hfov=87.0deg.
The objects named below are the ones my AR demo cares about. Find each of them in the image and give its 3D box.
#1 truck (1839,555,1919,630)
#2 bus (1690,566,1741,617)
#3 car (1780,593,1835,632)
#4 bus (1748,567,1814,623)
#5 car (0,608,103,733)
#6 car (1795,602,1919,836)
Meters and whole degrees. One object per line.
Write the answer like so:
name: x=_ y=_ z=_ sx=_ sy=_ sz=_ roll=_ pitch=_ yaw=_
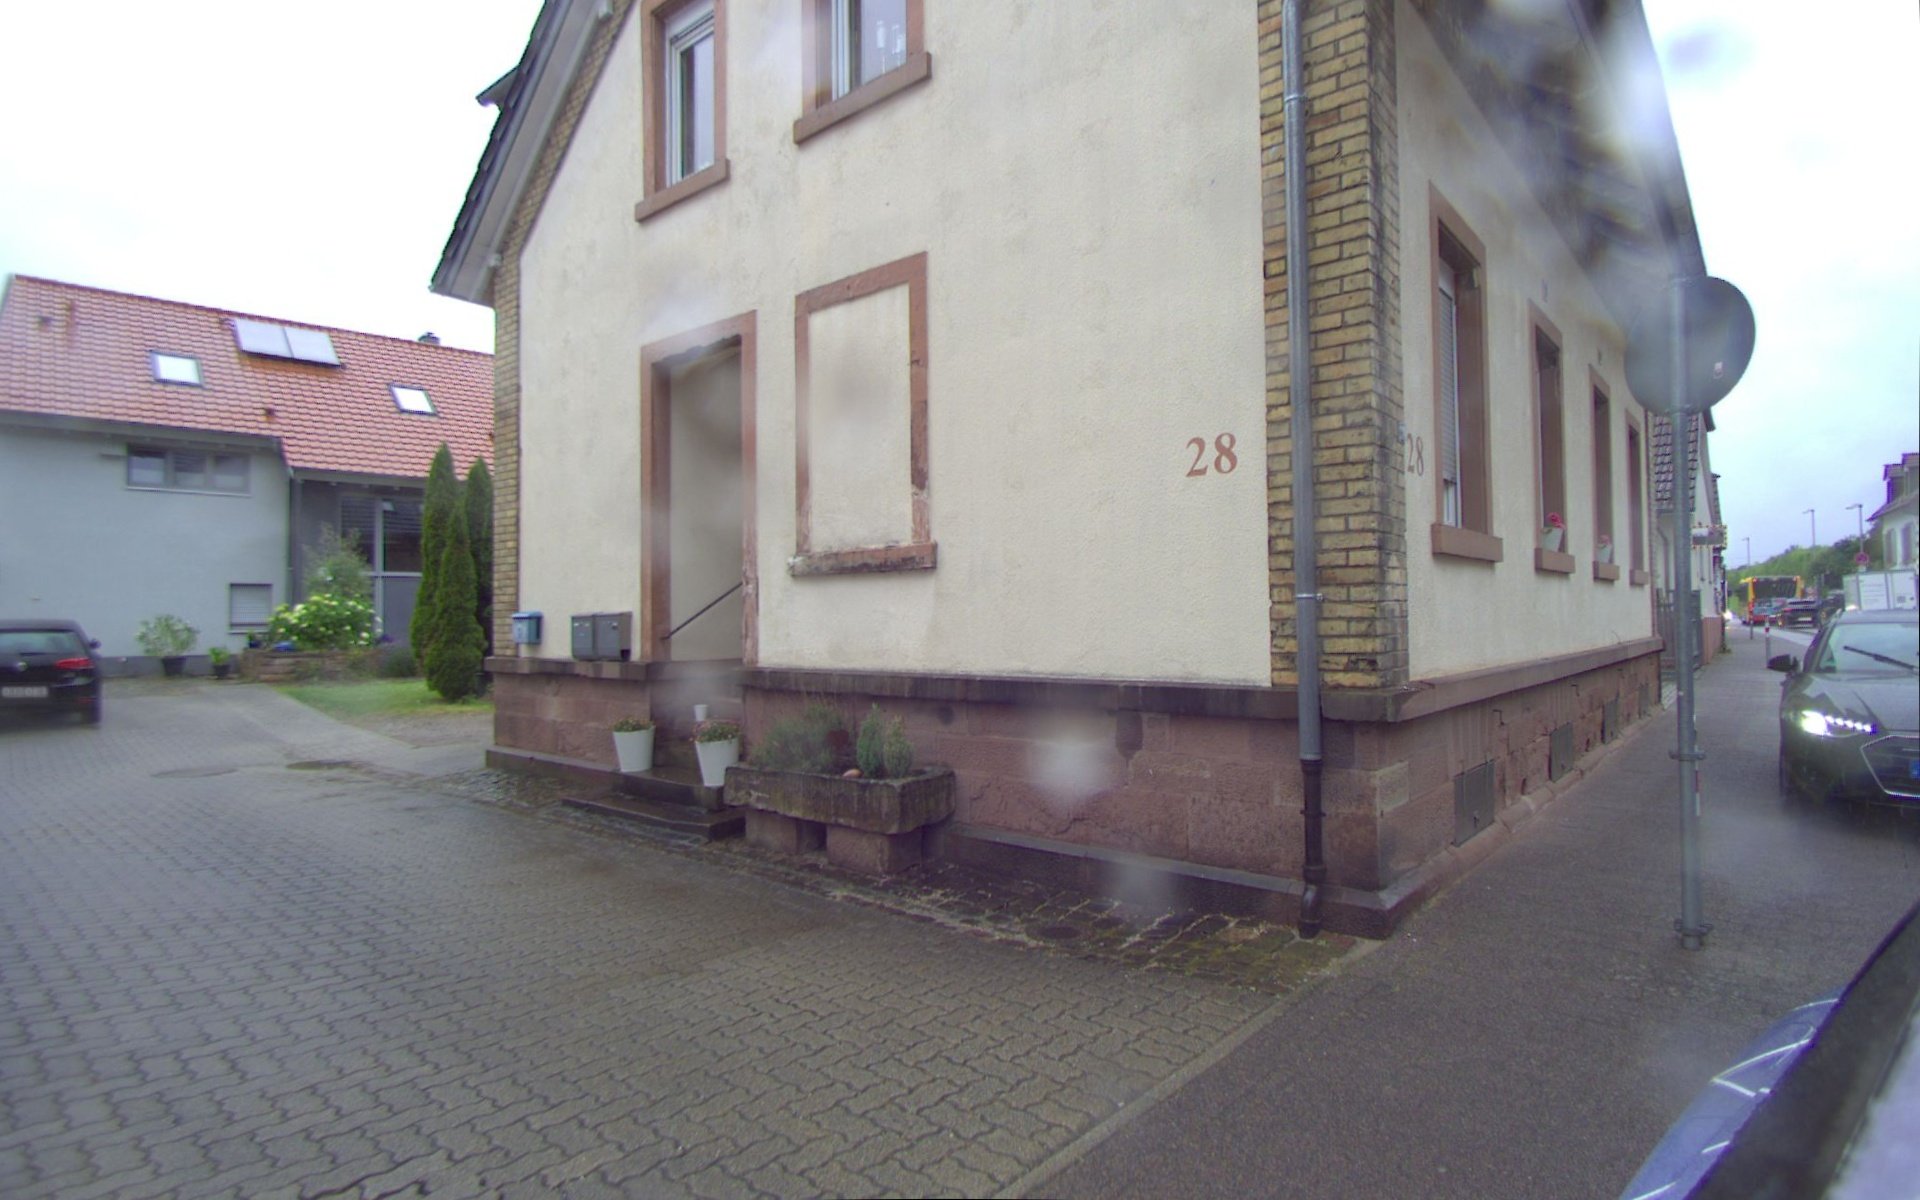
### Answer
truck: x=33.588 y=-0.280 z=36.624 sx=1.986 sy=2.536 sz=5.581 roll=0 pitch=0 yaw=34
bus: x=52.638 y=-0.594 z=70.637 sx=2.654 sy=3.273 sz=12.033 roll=0 pitch=0 yaw=36
car: x=42.782 y=0.602 z=51.149 sx=1.792 sy=1.839 sz=3.949 roll=0 pitch=0 yaw=36
bus: x=52.592 y=-0.353 z=65.050 sx=2.654 sy=3.273 sz=12.033 roll=0 pitch=0 yaw=36
car: x=-13.946 y=0.953 z=15.110 sx=1.656 sy=1.491 sz=3.993 roll=0 pitch=2 yaw=-42
car: x=7.368 y=0.732 z=7.540 sx=1.732 sy=1.388 sz=4.044 roll=0 pitch=0 yaw=39
